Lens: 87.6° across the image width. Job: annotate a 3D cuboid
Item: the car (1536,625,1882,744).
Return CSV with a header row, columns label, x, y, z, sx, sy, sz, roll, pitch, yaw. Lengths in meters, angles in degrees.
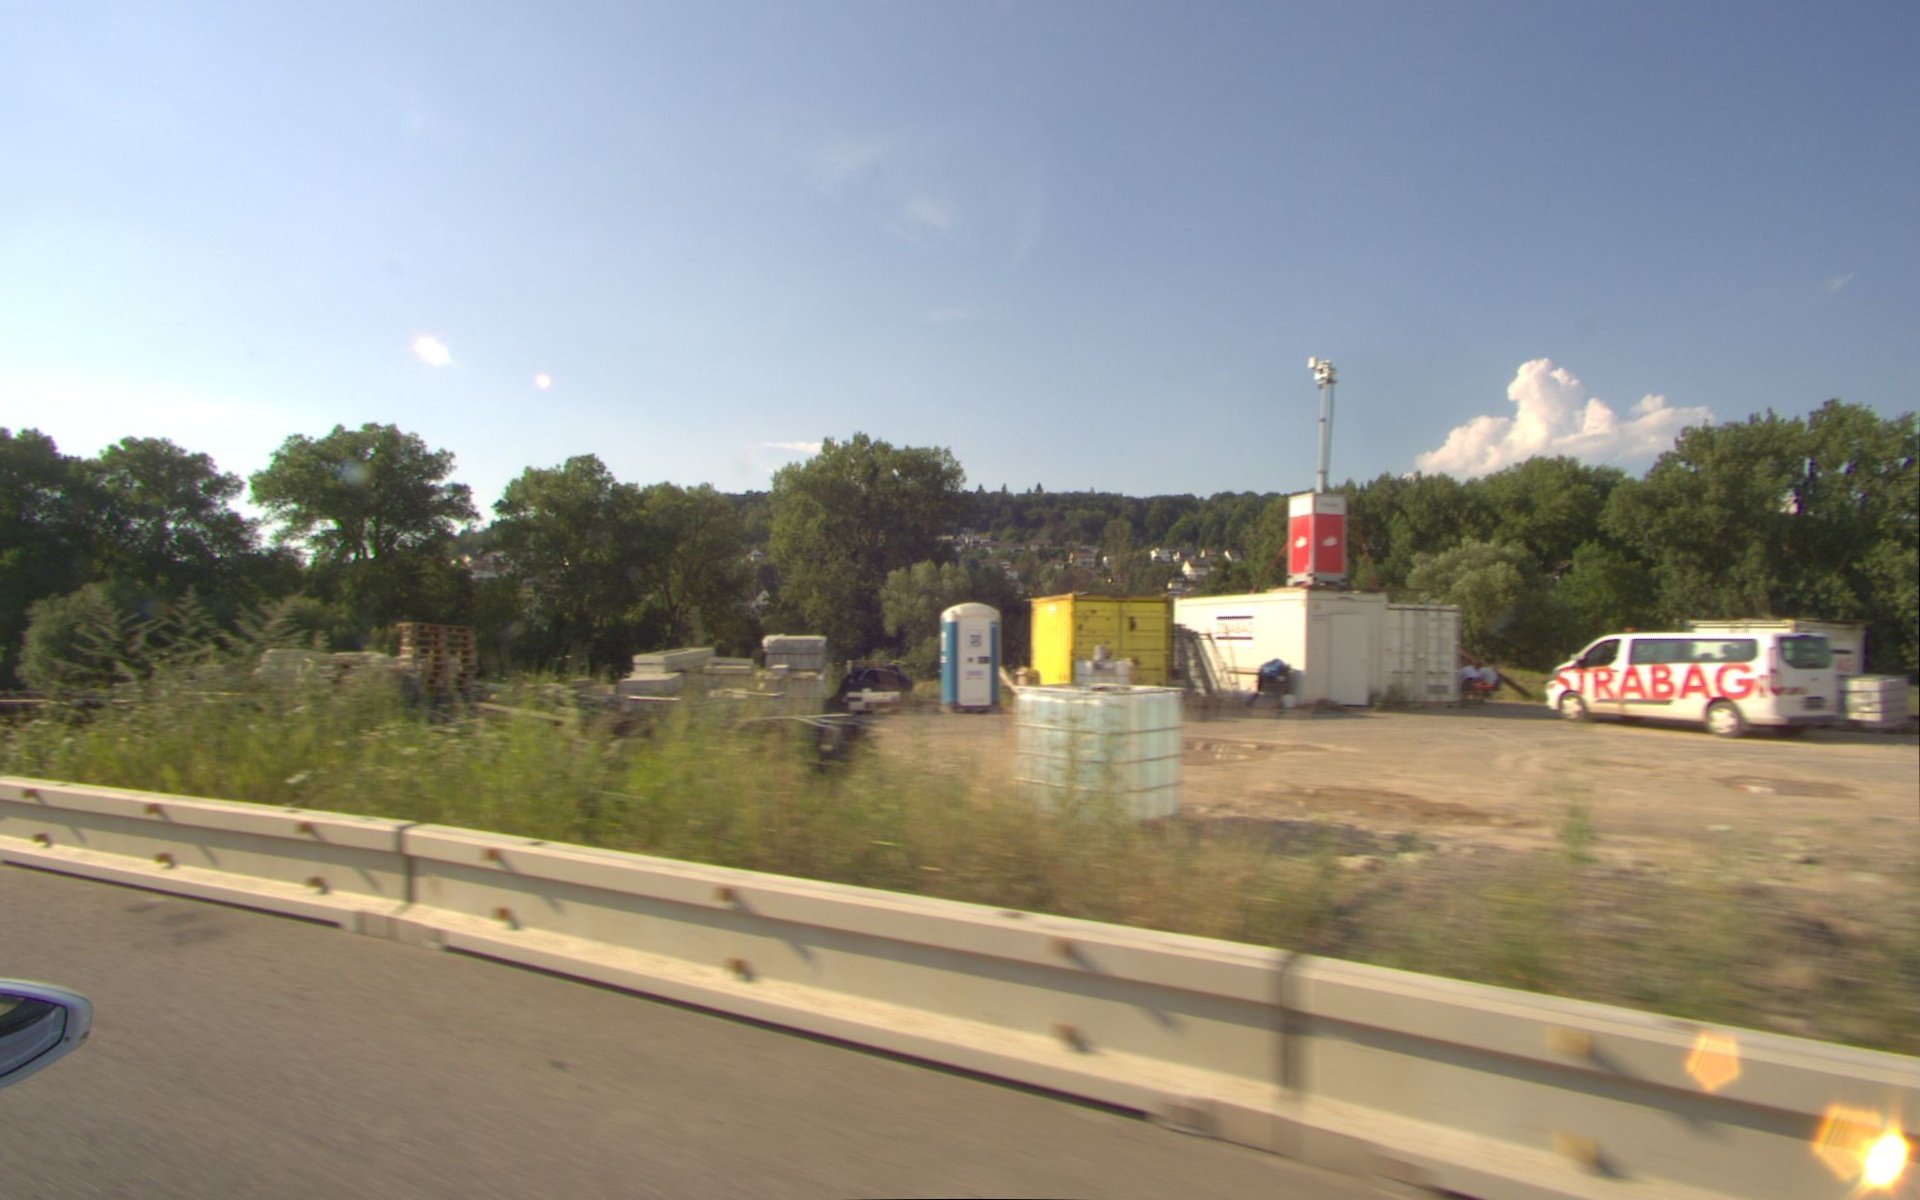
label,x,y,z,sx,sy,sz,roll,pitch,yaw
car,15.085,1.626,20.671,2.443,2.105,5.312,1,-2,-17
